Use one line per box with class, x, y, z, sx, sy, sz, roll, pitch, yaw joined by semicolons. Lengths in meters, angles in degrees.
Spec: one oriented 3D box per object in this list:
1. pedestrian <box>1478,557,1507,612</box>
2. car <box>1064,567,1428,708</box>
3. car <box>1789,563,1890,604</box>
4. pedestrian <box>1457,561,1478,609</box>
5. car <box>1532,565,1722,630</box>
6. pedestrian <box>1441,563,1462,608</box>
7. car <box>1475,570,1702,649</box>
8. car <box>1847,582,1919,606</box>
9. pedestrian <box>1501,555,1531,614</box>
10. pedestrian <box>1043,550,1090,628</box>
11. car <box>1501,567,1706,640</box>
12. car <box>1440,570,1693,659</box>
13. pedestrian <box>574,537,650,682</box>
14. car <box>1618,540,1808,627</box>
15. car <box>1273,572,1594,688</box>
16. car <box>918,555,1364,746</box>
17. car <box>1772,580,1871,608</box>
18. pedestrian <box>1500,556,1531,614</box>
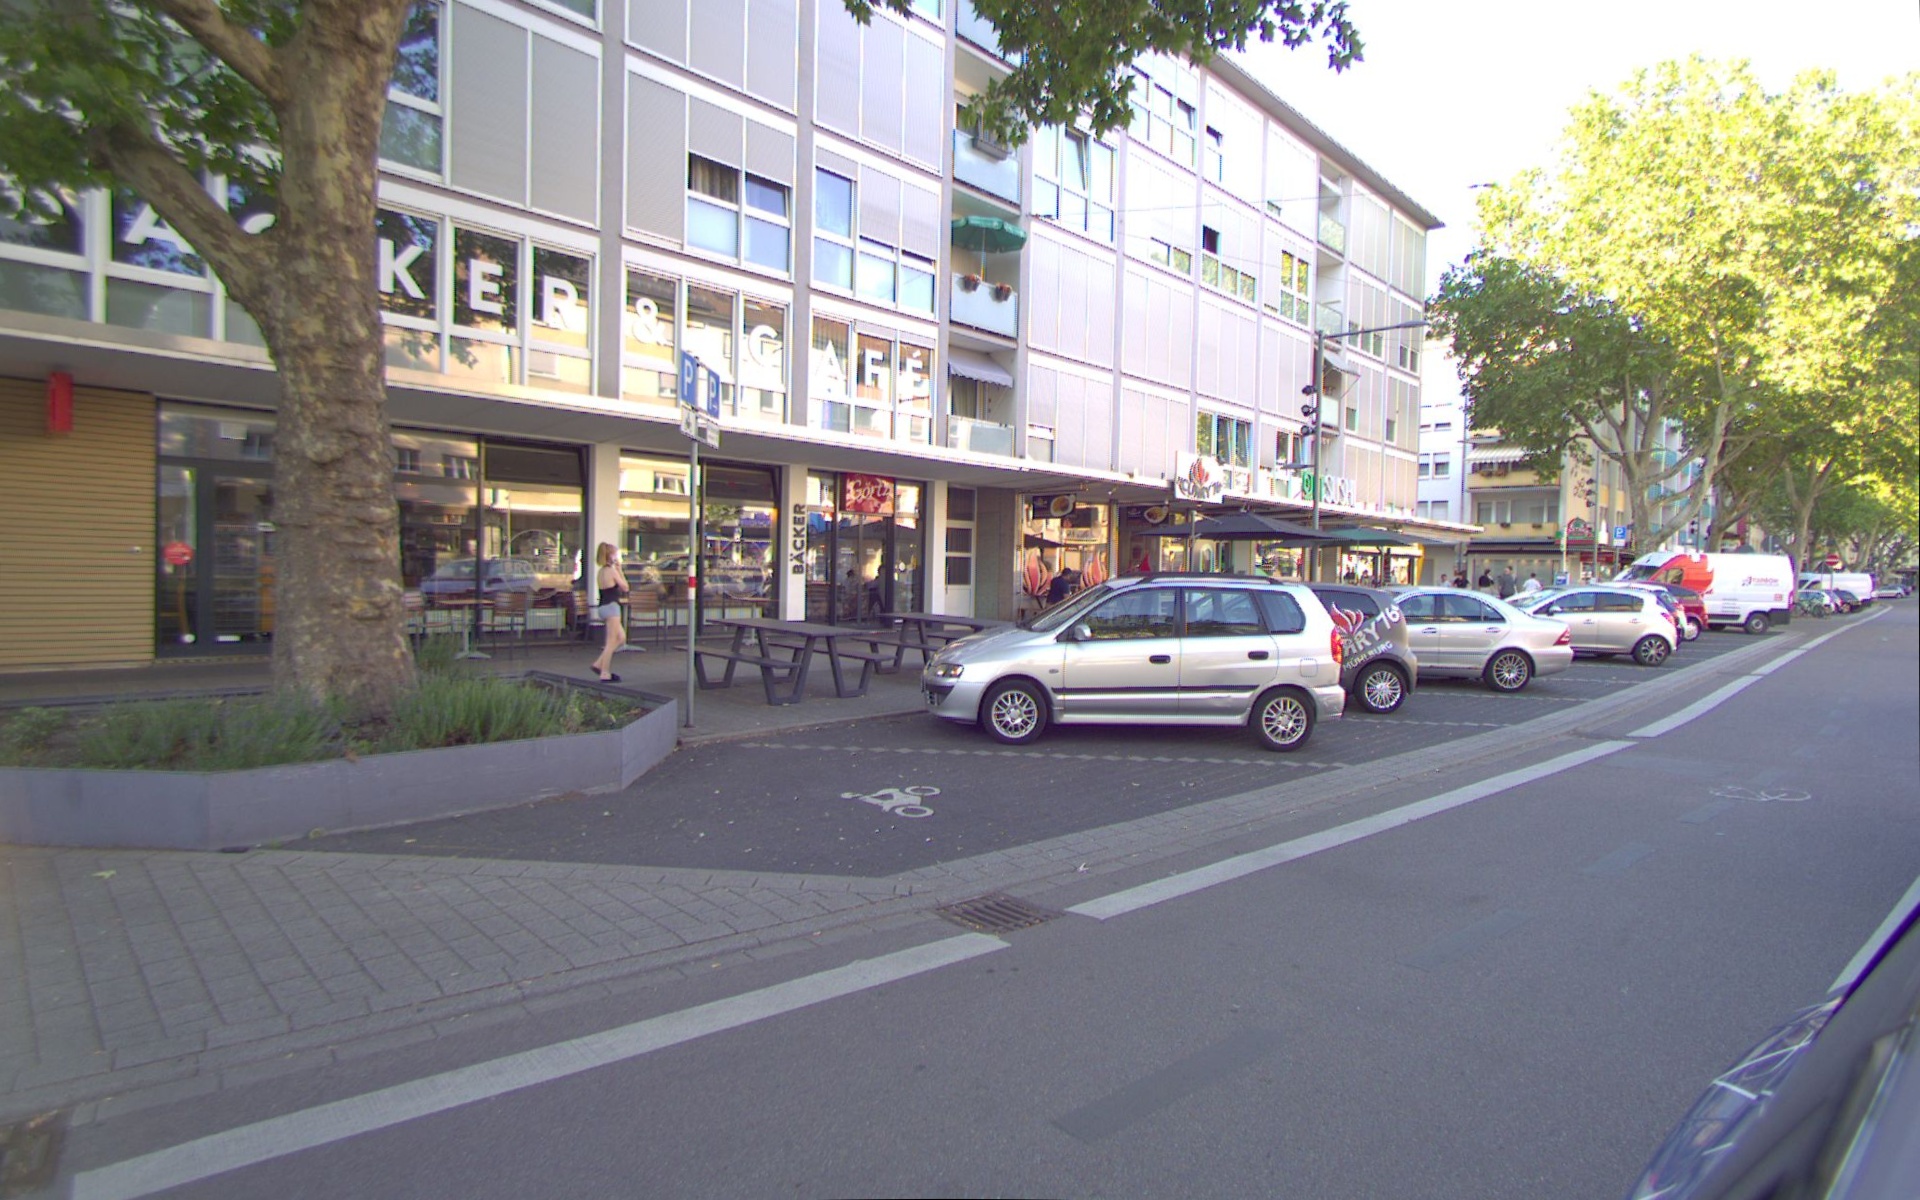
pedestrian;19.480;-0.577;37.028;0.746;2.000;0.566;3;2;45
car;3.344;0.402;12.332;3.864;1.446;1.679;2;3;-3
car;56.577;-1.078;65.166;4.512;2.499;1.977;1;2;3
pedestrian;18.656;-0.553;37.223;0.544;1.741;0.450;2;2;45
car;18.086;-0.114;27.641;3.888;1.445;1.669;4;5;17
pedestrian;18.240;-0.539;37.585;0.536;1.660;0.470;2;2;45
car;13.926;0.153;22.666;3.886;1.446;1.670;3;3;16
car;56.470;-0.366;61.208;3.864;1.350;1.782;1;2;3
pedestrian;19.482;-0.562;35.489;0.746;2.038;0.550;3;2;45
pedestrian;2.251;-0.242;21.380;0.757;1.602;0.583;0;2;-39
car;15.923;0.040;25.268;3.888;1.445;1.669;4;5;17
car;11.750;0.251;19.810;3.871;1.446;1.559;3;3;4
pedestrian;-3.966;0.094;11.532;0.559;1.596;0.632;2;2;44
car;23.747;-0.535;32.055;4.514;2.525;1.675;2;1;5
car;6.798;0.394;14.826;3.867;1.418;1.598;2;3;1
car;1.580;0.426;9.810;3.906;1.560;1.679;2;3;-3
car;48.053;-0.350;56.486;3.864;1.422;1.782;1;2;3
pedestrian;19.981;-0.546;36.398;0.746;2.038;0.752;3;2;45
